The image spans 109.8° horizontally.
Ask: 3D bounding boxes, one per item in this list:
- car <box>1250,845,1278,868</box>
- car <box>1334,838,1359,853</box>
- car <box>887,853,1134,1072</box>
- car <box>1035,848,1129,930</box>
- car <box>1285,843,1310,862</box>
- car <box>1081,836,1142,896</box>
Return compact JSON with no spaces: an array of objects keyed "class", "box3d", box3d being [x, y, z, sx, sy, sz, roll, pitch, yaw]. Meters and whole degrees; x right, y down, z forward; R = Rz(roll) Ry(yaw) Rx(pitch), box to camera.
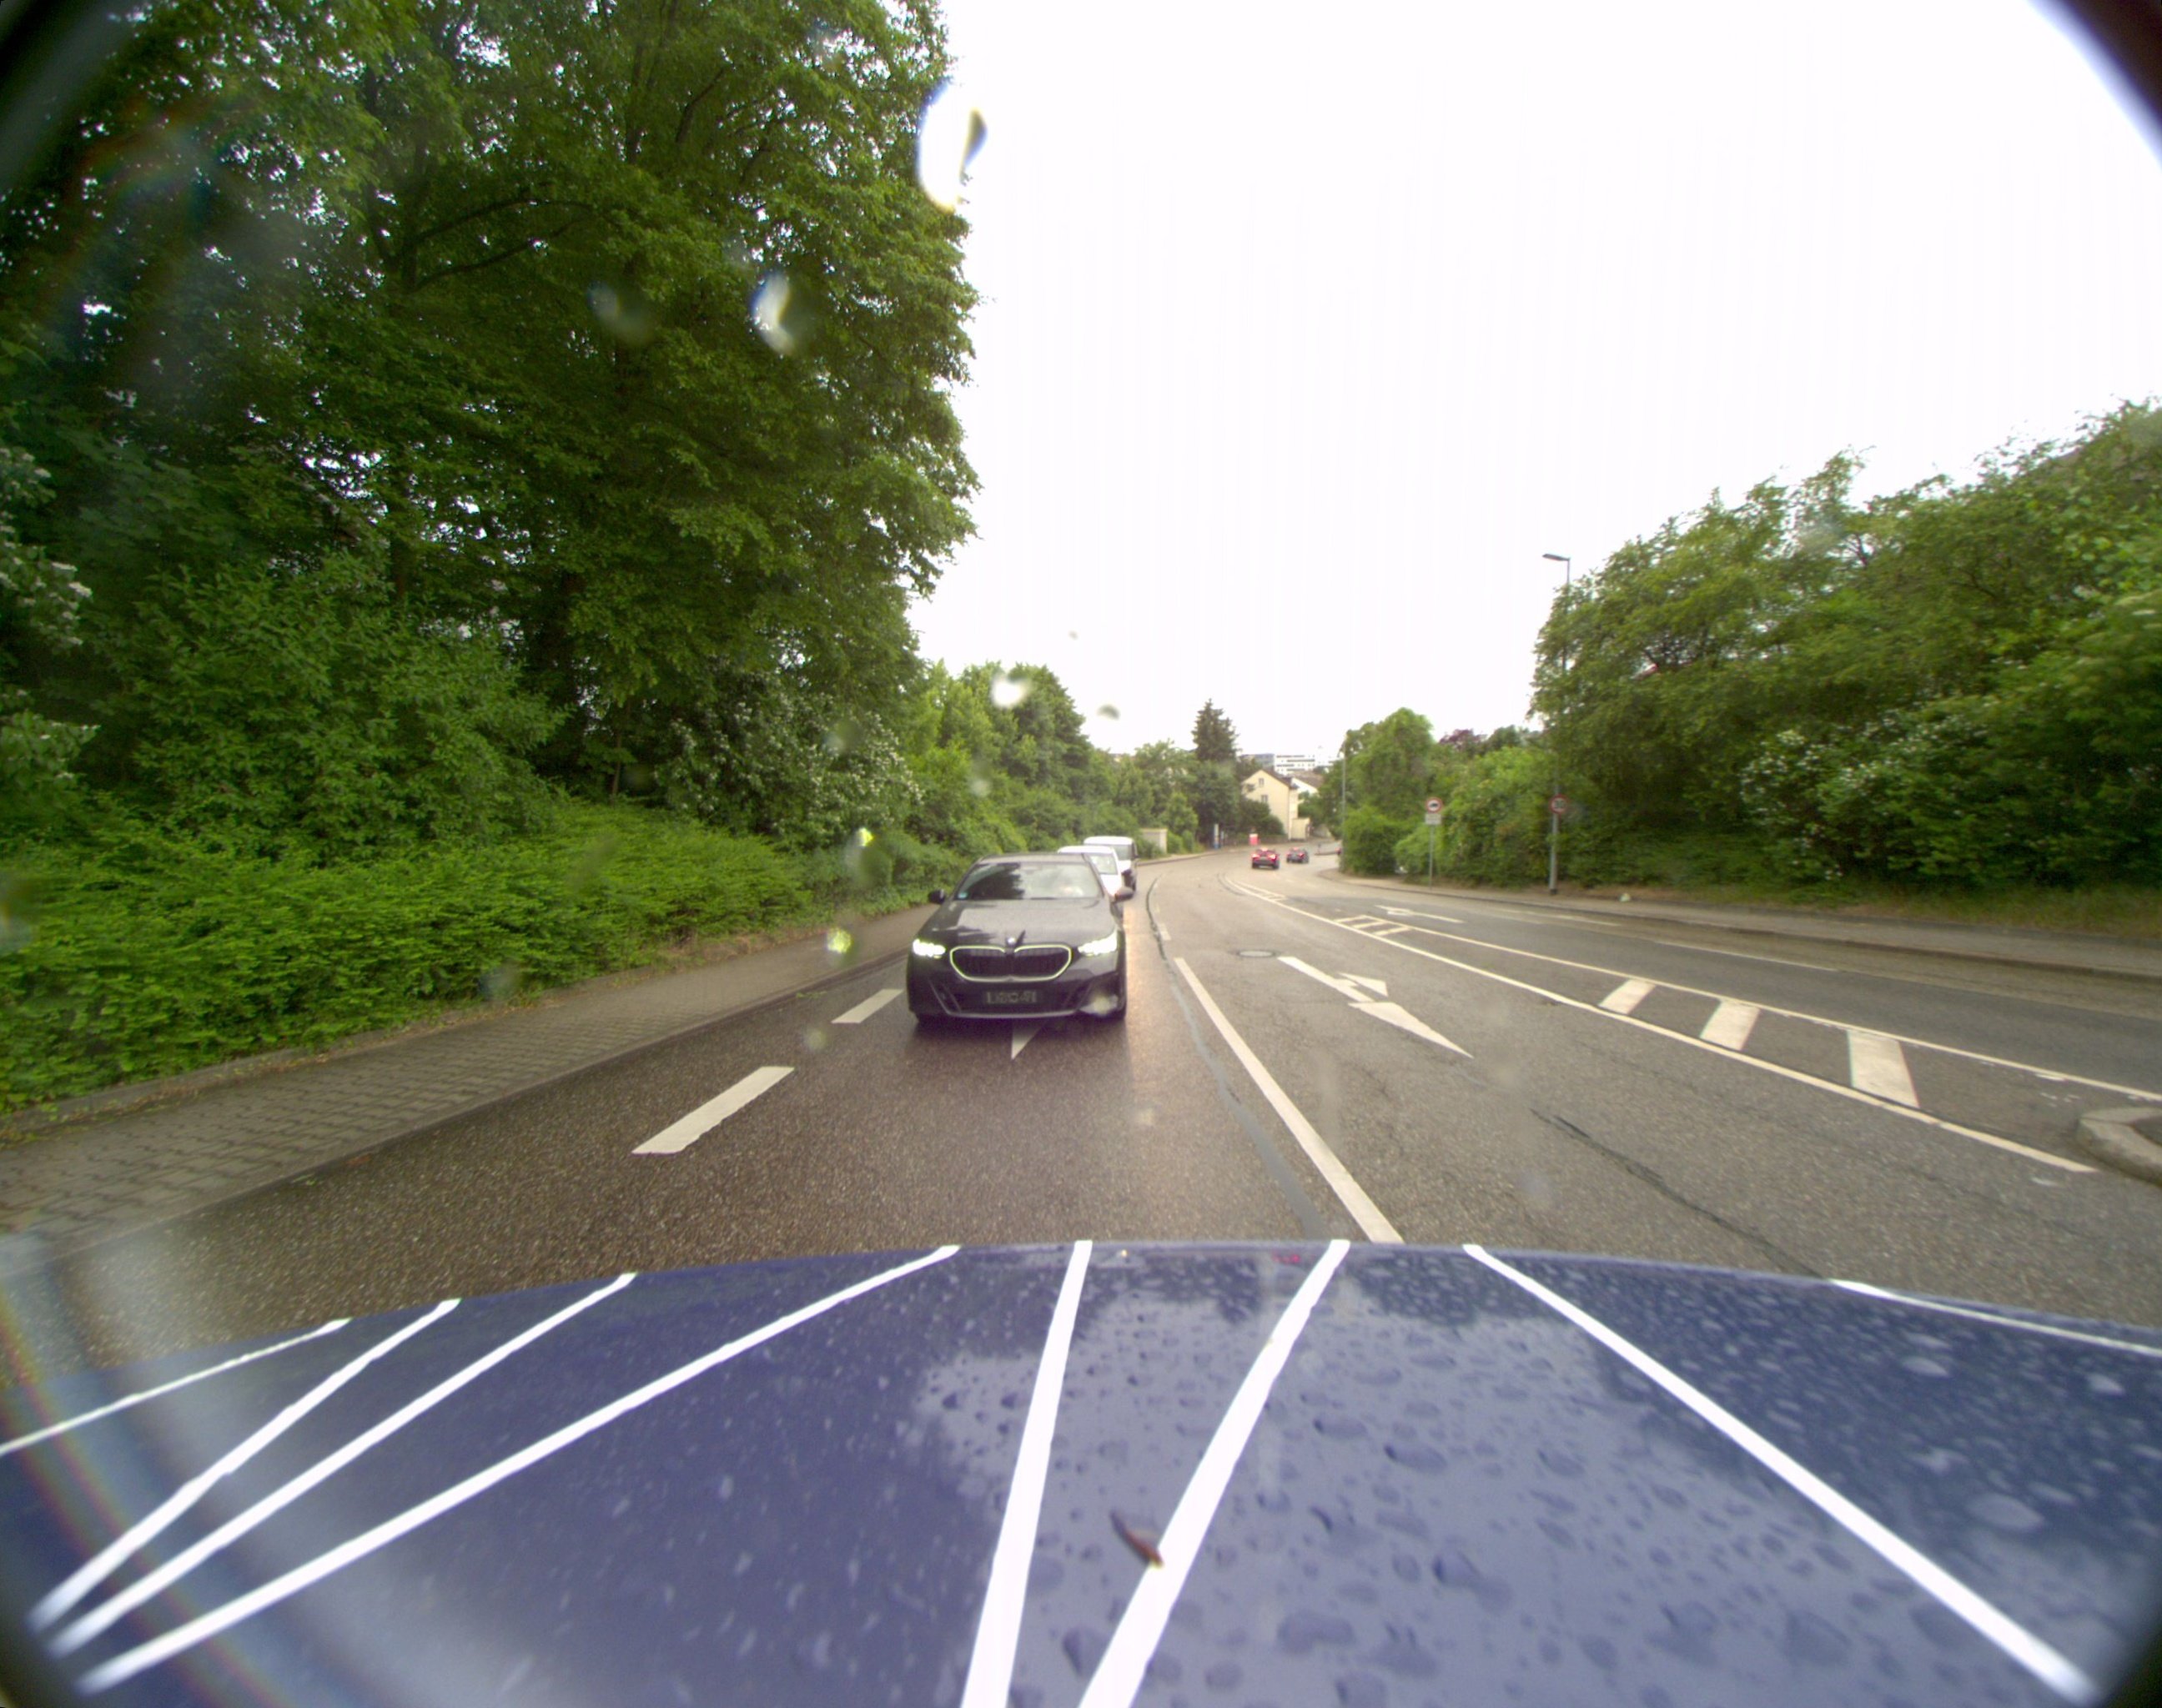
[{"class":"car","box3d":[15.598,0.172,64.676,1.958,1.835,4.005,2,1,18]},{"class":"car","box3d":[35.225,-1.121,100.642,1.994,1.904,4.008,1,1,36]},{"class":"car","box3d":[-0.504,0.823,7.814,1.867,1.547,4.118,0,2,1]},{"class":"car","box3d":[0.050,0.657,16.803,1.814,1.547,4.119,0,1,1]},{"class":"car","box3d":[23.557,-0.179,82.589,2.128,2.002,4.092,1,1,22]},{"class":"car","box3d":[1.067,0.323,24.884,1.814,1.797,4.120,0,1,4]}]
